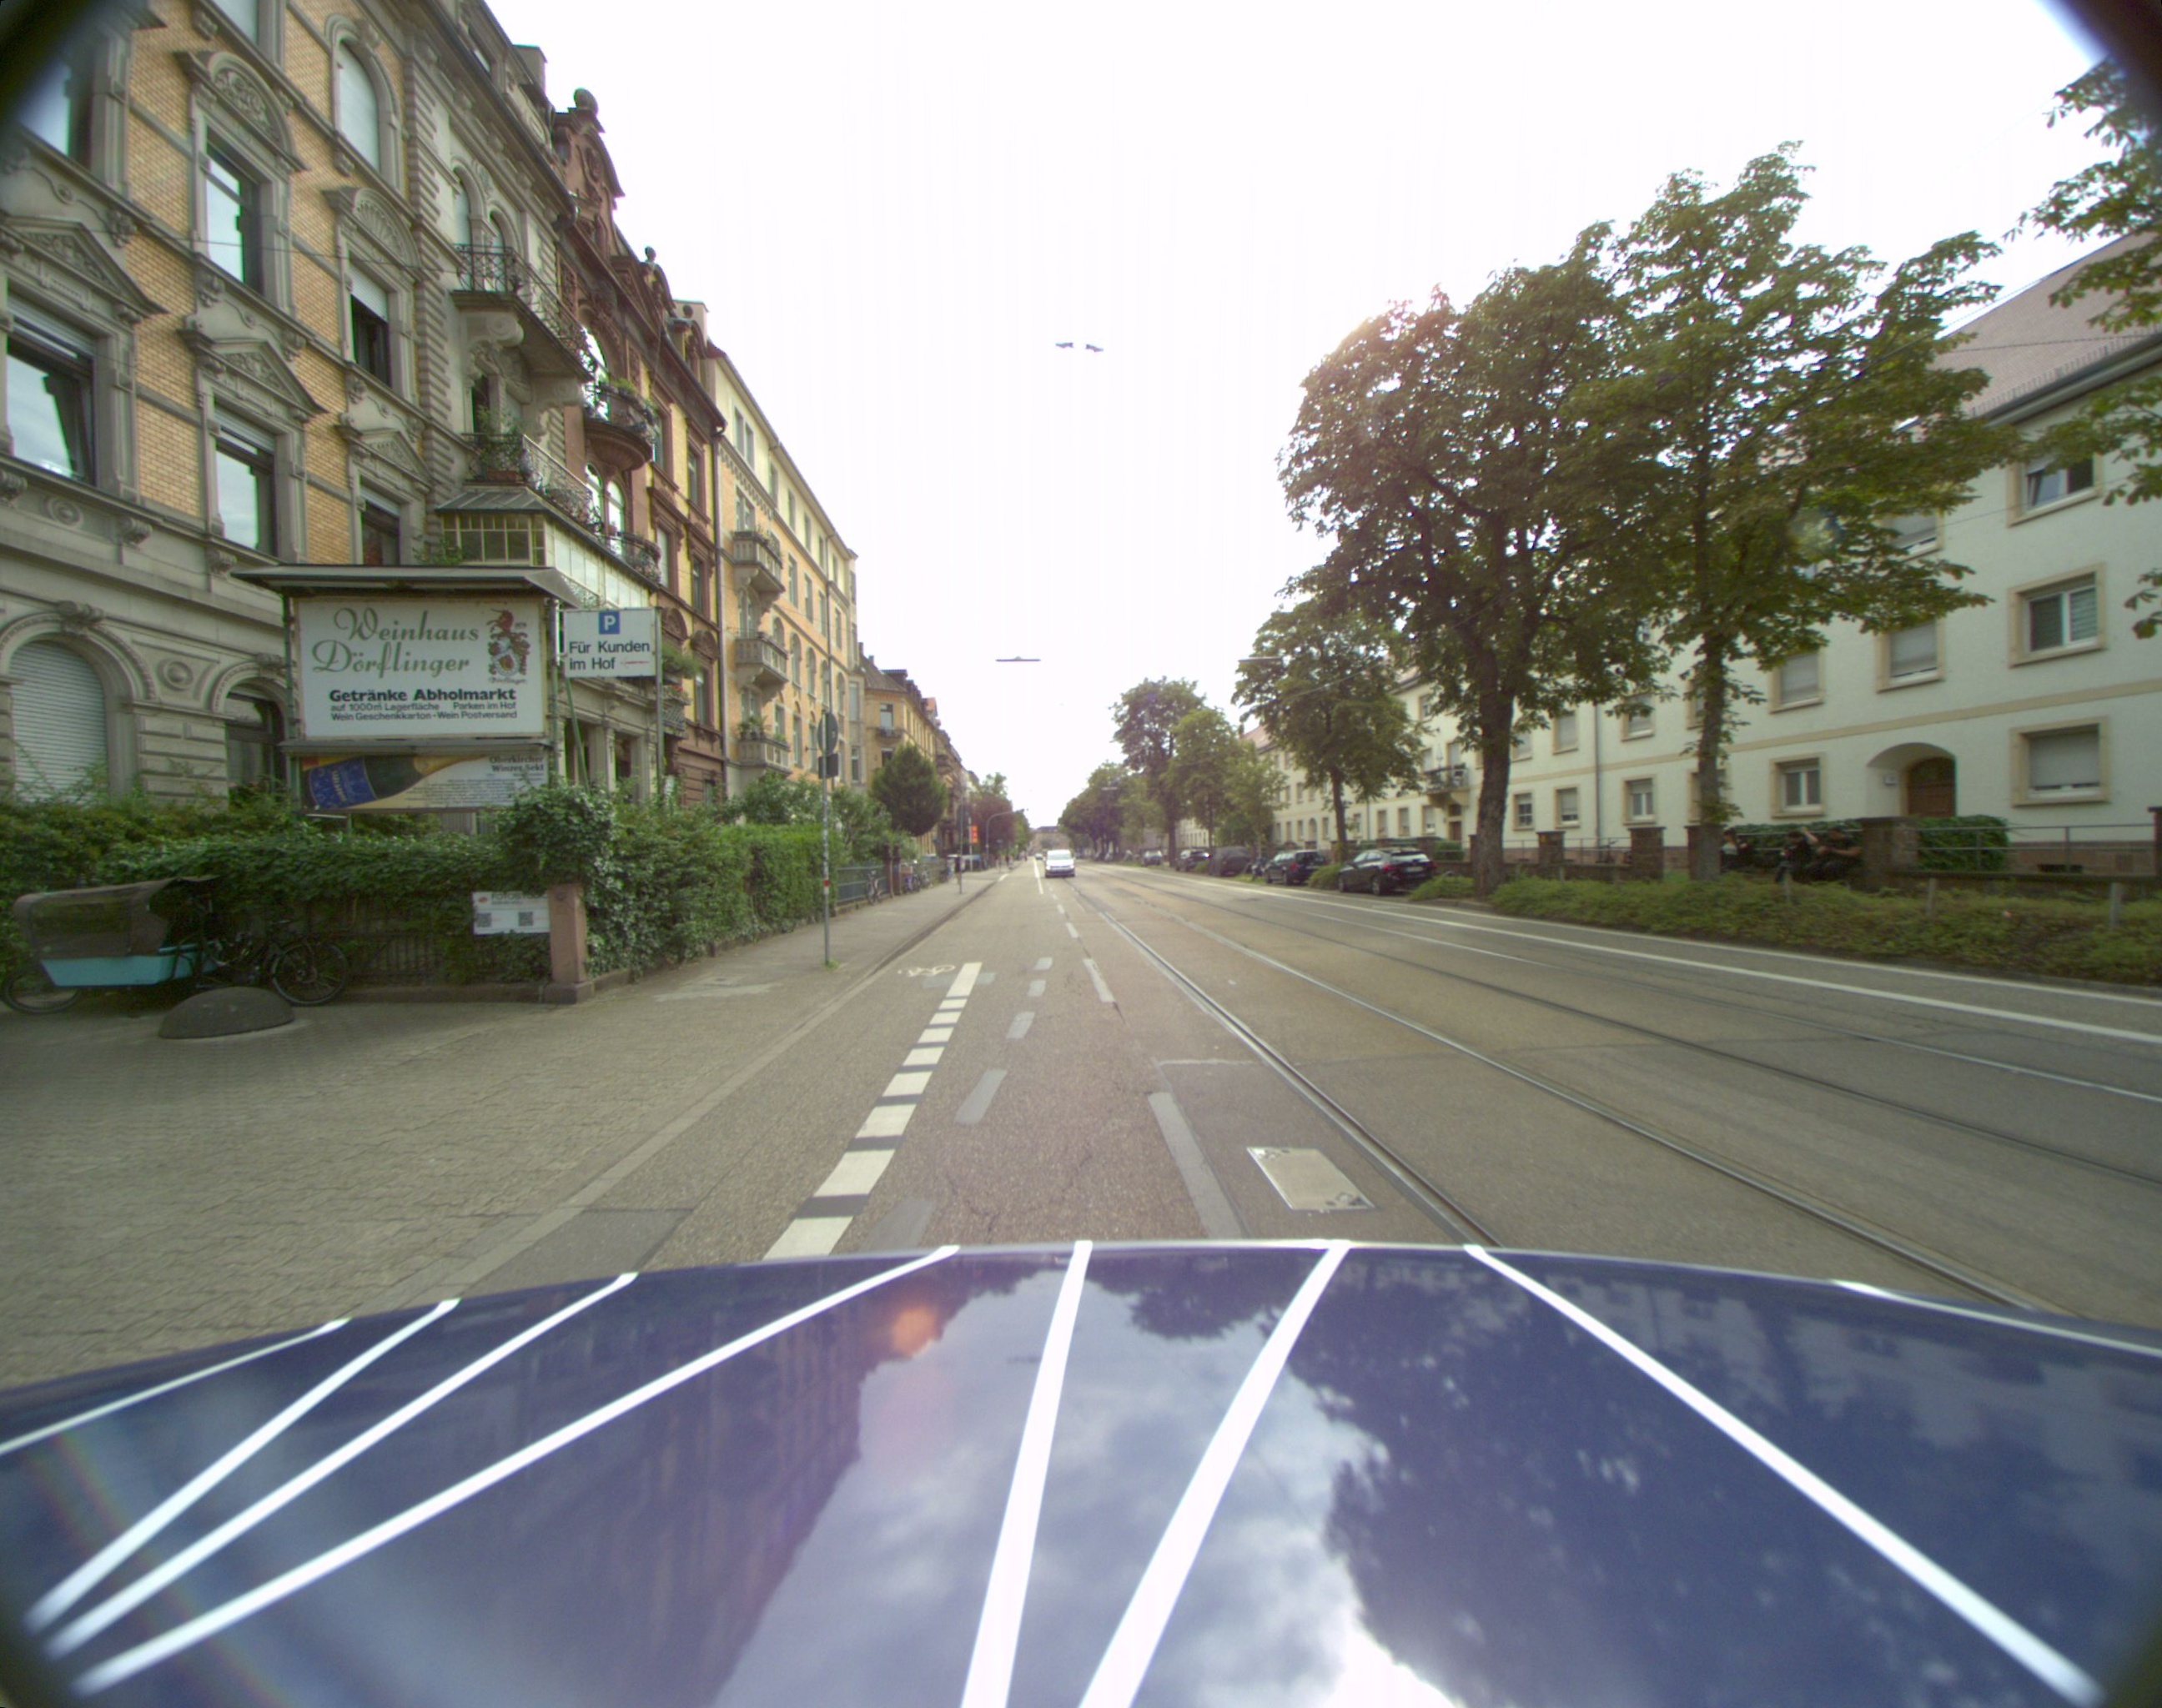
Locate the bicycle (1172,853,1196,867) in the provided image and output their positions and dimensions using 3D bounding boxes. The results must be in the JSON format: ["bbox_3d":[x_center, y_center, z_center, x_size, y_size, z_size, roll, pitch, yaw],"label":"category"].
[{"bbox_3d":[7.844,0.442,57.804,1.672,0.965,0.672,-2,1,-12],"label":"bicycle"}]

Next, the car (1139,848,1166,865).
[{"bbox_3d":[6.746,0.187,72.315,1.702,1.462,4.297,-2,1,-5],"label":"car"}]

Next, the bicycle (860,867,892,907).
[{"bbox_3d":[-6.271,0.990,23.297,0.580,1.105,1.671,-2,1,-4],"label":"bicycle"}]

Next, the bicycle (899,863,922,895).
[{"bbox_3d":[-6.412,0.916,28.653,0.580,1.105,1.671,2,0,-4],"label":"bicycle"}]

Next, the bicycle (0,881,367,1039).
[{"bbox_3d":[-8.641,0.973,7.297,2.631,1.304,0.770,-2,1,-6],"label":"bicycle"}]

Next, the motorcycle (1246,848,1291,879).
[{"bbox_3d":[8.951,0.441,36.324,1.872,1.253,0.591,-7,2,-7],"label":"motorcycle"}]

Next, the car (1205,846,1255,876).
[{"bbox_3d":[8.543,0.356,43.907,1.790,1.602,4.298,-2,1,-3],"label":"car"}]

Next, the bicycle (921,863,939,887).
[{"bbox_3d":[-6.802,0.940,34.248,0.580,0.977,1.671,2,0,-4],"label":"bicycle"}]

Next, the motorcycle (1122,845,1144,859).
[{"bbox_3d":[6.035,-0.244,87.960,2.312,1.382,0.838,-6,2,29],"label":"motorcycle"}]

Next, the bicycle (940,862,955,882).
[{"bbox_3d":[-7.053,0.941,40.132,0.580,0.977,1.671,2,0,-4],"label":"bicycle"}]

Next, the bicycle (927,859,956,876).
[{"bbox_3d":[-9.667,0.959,52.729,1.890,1.121,0.533,-1,1,13],"label":"bicycle"}]

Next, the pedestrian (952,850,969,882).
[{"bbox_3d":[-6.184,0.625,39.036,0.732,1.614,0.835,-2,1,-3],"label":"pedestrian"}]

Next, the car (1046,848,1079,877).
[{"bbox_3d":[-1.210,0.470,48.393,1.876,1.670,5.129,-2,1,-3],"label":"car"}]

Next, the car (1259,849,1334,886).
[{"bbox_3d":[9.099,0.519,32.431,1.701,1.415,4.298,-3,1,-3],"label":"car"}]

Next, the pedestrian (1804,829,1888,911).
[{"bbox_3d":[14.135,0.286,14.050,0.835,1.456,0.732,-2,1,-8],"label":"pedestrian"}]

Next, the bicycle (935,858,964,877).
[{"bbox_3d":[-8.572,0.876,49.542,0.629,1.106,1.878,-1,1,40],"label":"bicycle"}]

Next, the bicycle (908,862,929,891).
[{"bbox_3d":[-6.536,0.892,30.622,0.580,1.105,1.671,2,0,-4],"label":"bicycle"}]

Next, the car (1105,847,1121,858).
[{"bbox_3d":[4.559,-0.186,109.758,1.732,1.462,4.297,-2,1,-5],"label":"car"}]

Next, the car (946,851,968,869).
[{"bbox_3d":[-10.886,0.509,66.892,1.757,1.516,3.996,-2,1,-9],"label":"car"}]

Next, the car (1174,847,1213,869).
[{"bbox_3d":[7.805,0.264,53.203,1.702,1.462,4.297,-2,1,-5],"label":"car"}]

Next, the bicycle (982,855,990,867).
[{"bbox_3d":[-9.099,0.681,72.909,0.631,1.106,1.873,-2,1,-2],"label":"bicycle"}]

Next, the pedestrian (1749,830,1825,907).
[{"bbox_3d":[13.974,0.281,15.056,0.835,1.456,0.732,-2,1,-8],"label":"pedestrian"}]

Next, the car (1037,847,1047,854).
[{"bbox_3d":[-8.993,-0.843,175.783,1.947,1.675,4.000,-1,1,1],"label":"car"}]

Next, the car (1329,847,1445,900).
[{"bbox_3d":[9.674,0.541,24.395,1.701,1.415,4.298,-5,1,-3],"label":"car"}]

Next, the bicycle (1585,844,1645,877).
[{"bbox_3d":[14.641,0.174,20.883,0.510,0.858,1.549,-2,1,-3],"label":"bicycle"}]

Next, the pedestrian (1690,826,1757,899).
[{"bbox_3d":[13.886,0.176,16.446,0.835,1.504,0.732,-2,1,-8],"label":"pedestrian"}]
